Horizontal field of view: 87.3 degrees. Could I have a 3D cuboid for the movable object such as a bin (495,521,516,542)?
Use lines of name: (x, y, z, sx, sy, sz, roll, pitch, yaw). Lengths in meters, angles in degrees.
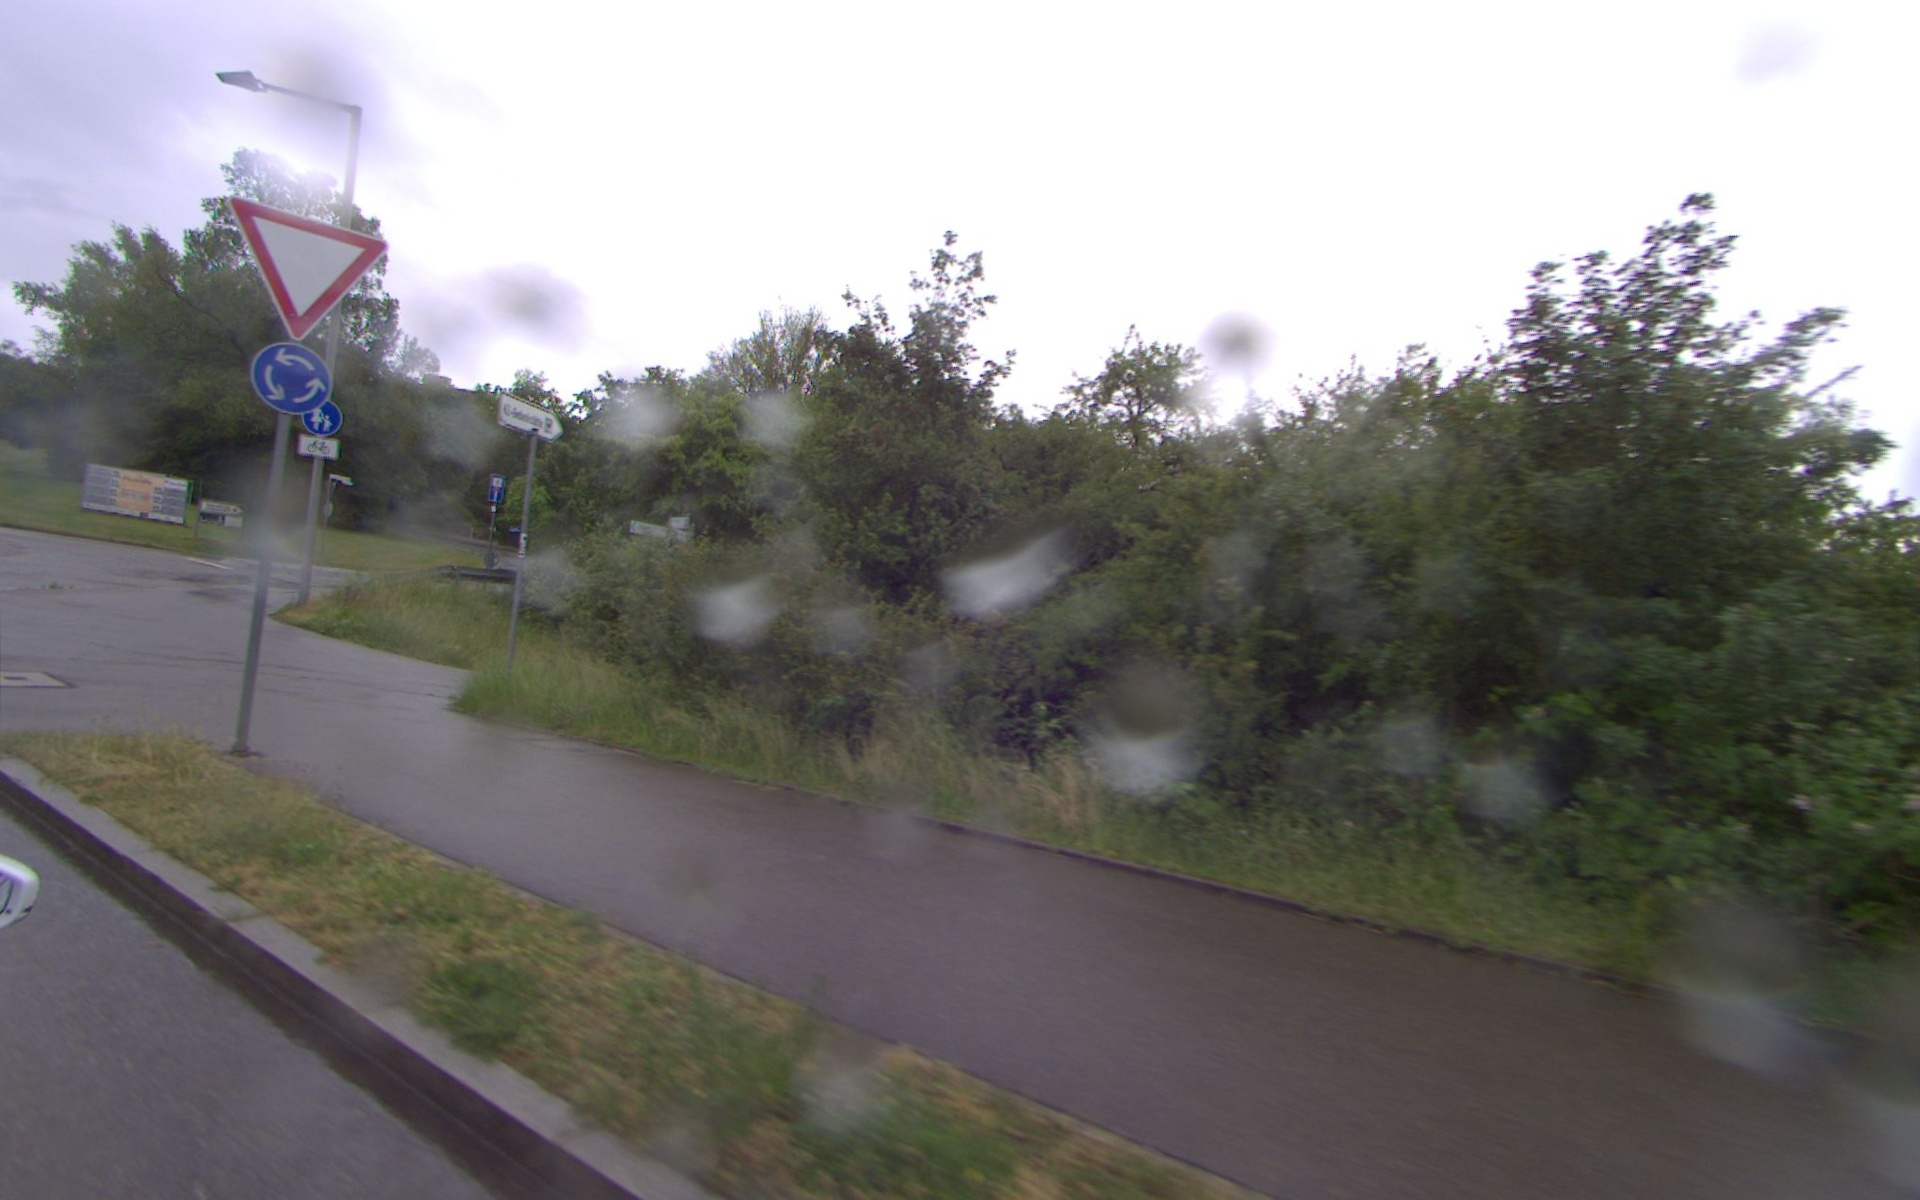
movable object such as a bin: (-37.445, -5.639, 82.888, 1.186, 1.455, 1.415, 7, 1, -34)
